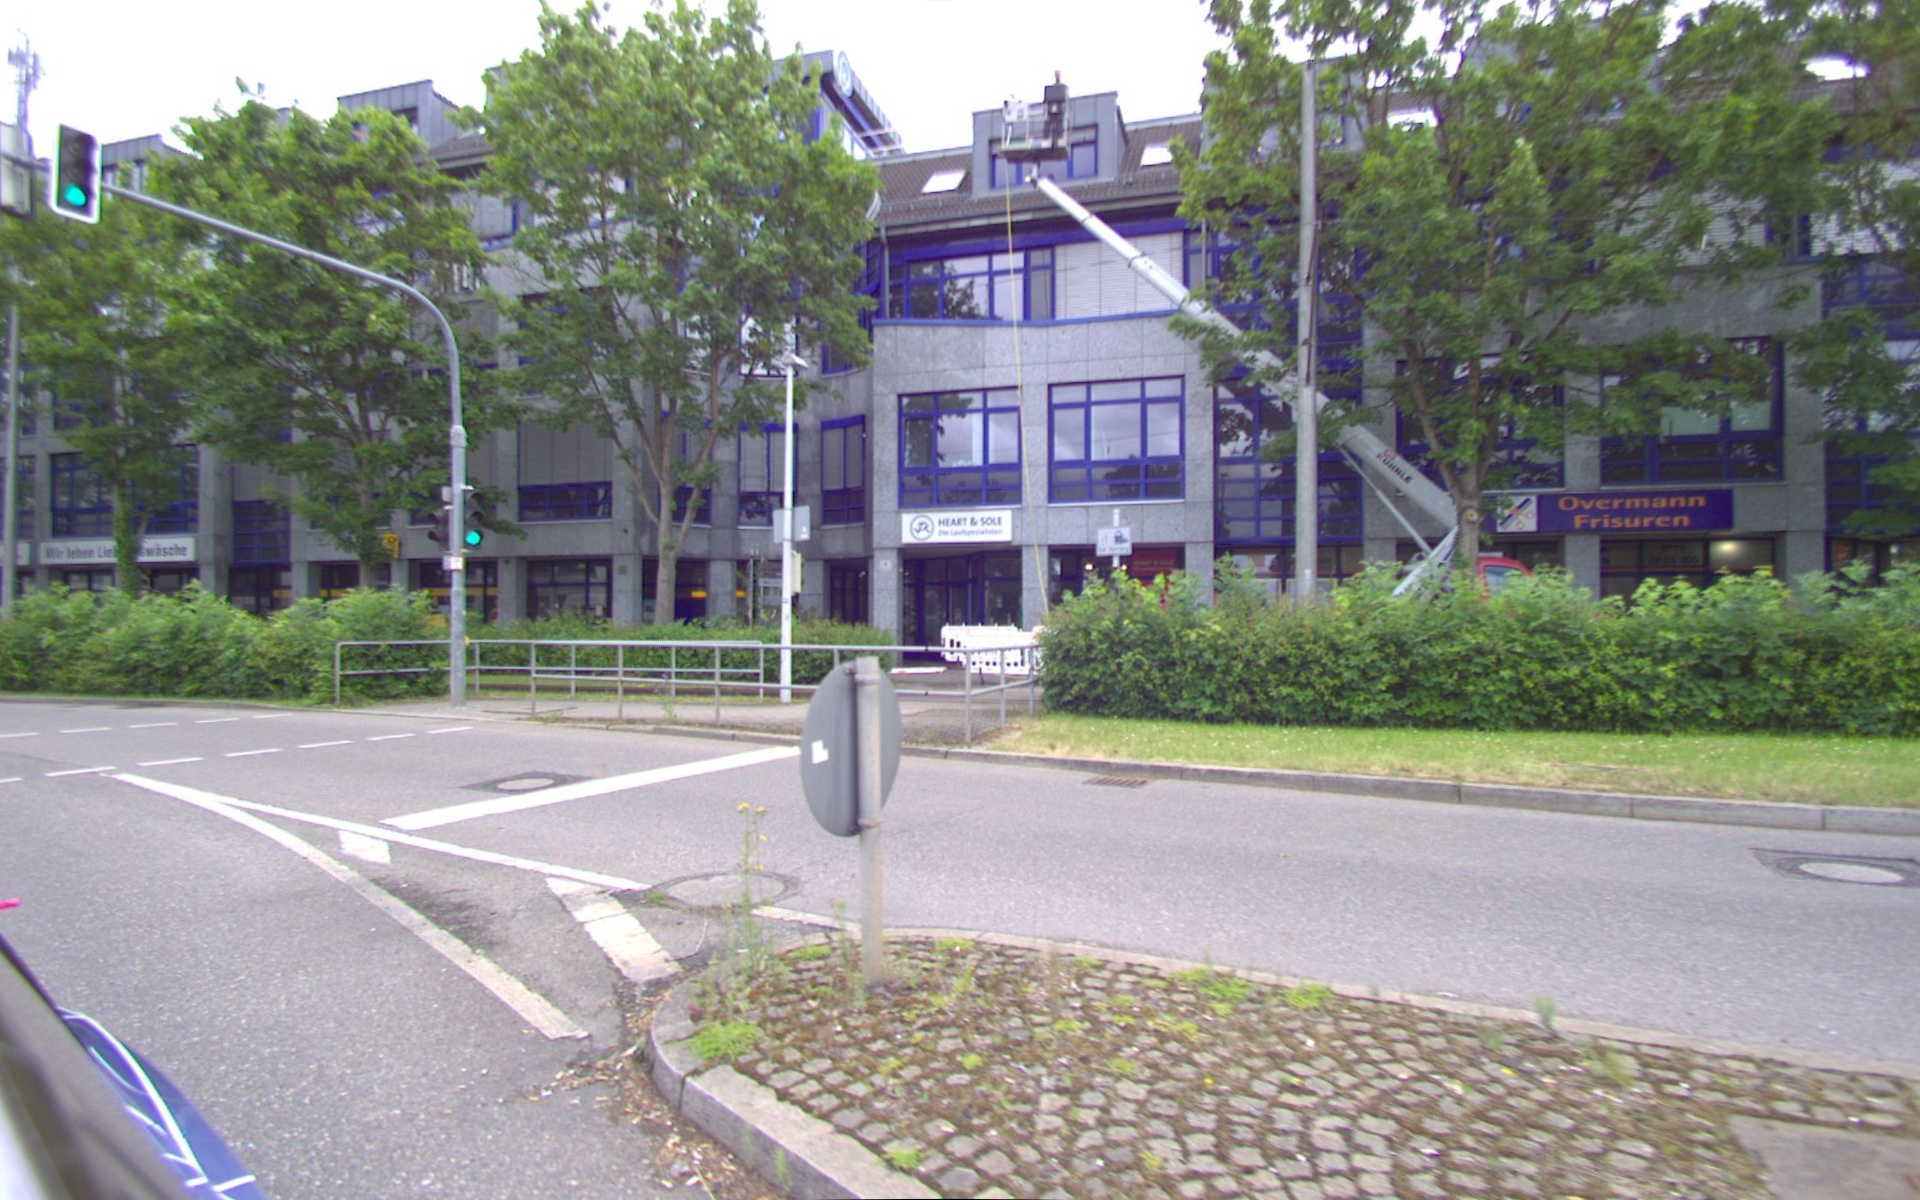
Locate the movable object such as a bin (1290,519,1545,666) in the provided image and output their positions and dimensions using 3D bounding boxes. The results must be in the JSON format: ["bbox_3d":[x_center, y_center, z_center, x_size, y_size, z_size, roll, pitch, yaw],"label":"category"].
[{"bbox_3d":[8.453,-0.108,19.106,4.091,2.550,1.901,-1,0,17],"label":"movable object such as a bin"}]
